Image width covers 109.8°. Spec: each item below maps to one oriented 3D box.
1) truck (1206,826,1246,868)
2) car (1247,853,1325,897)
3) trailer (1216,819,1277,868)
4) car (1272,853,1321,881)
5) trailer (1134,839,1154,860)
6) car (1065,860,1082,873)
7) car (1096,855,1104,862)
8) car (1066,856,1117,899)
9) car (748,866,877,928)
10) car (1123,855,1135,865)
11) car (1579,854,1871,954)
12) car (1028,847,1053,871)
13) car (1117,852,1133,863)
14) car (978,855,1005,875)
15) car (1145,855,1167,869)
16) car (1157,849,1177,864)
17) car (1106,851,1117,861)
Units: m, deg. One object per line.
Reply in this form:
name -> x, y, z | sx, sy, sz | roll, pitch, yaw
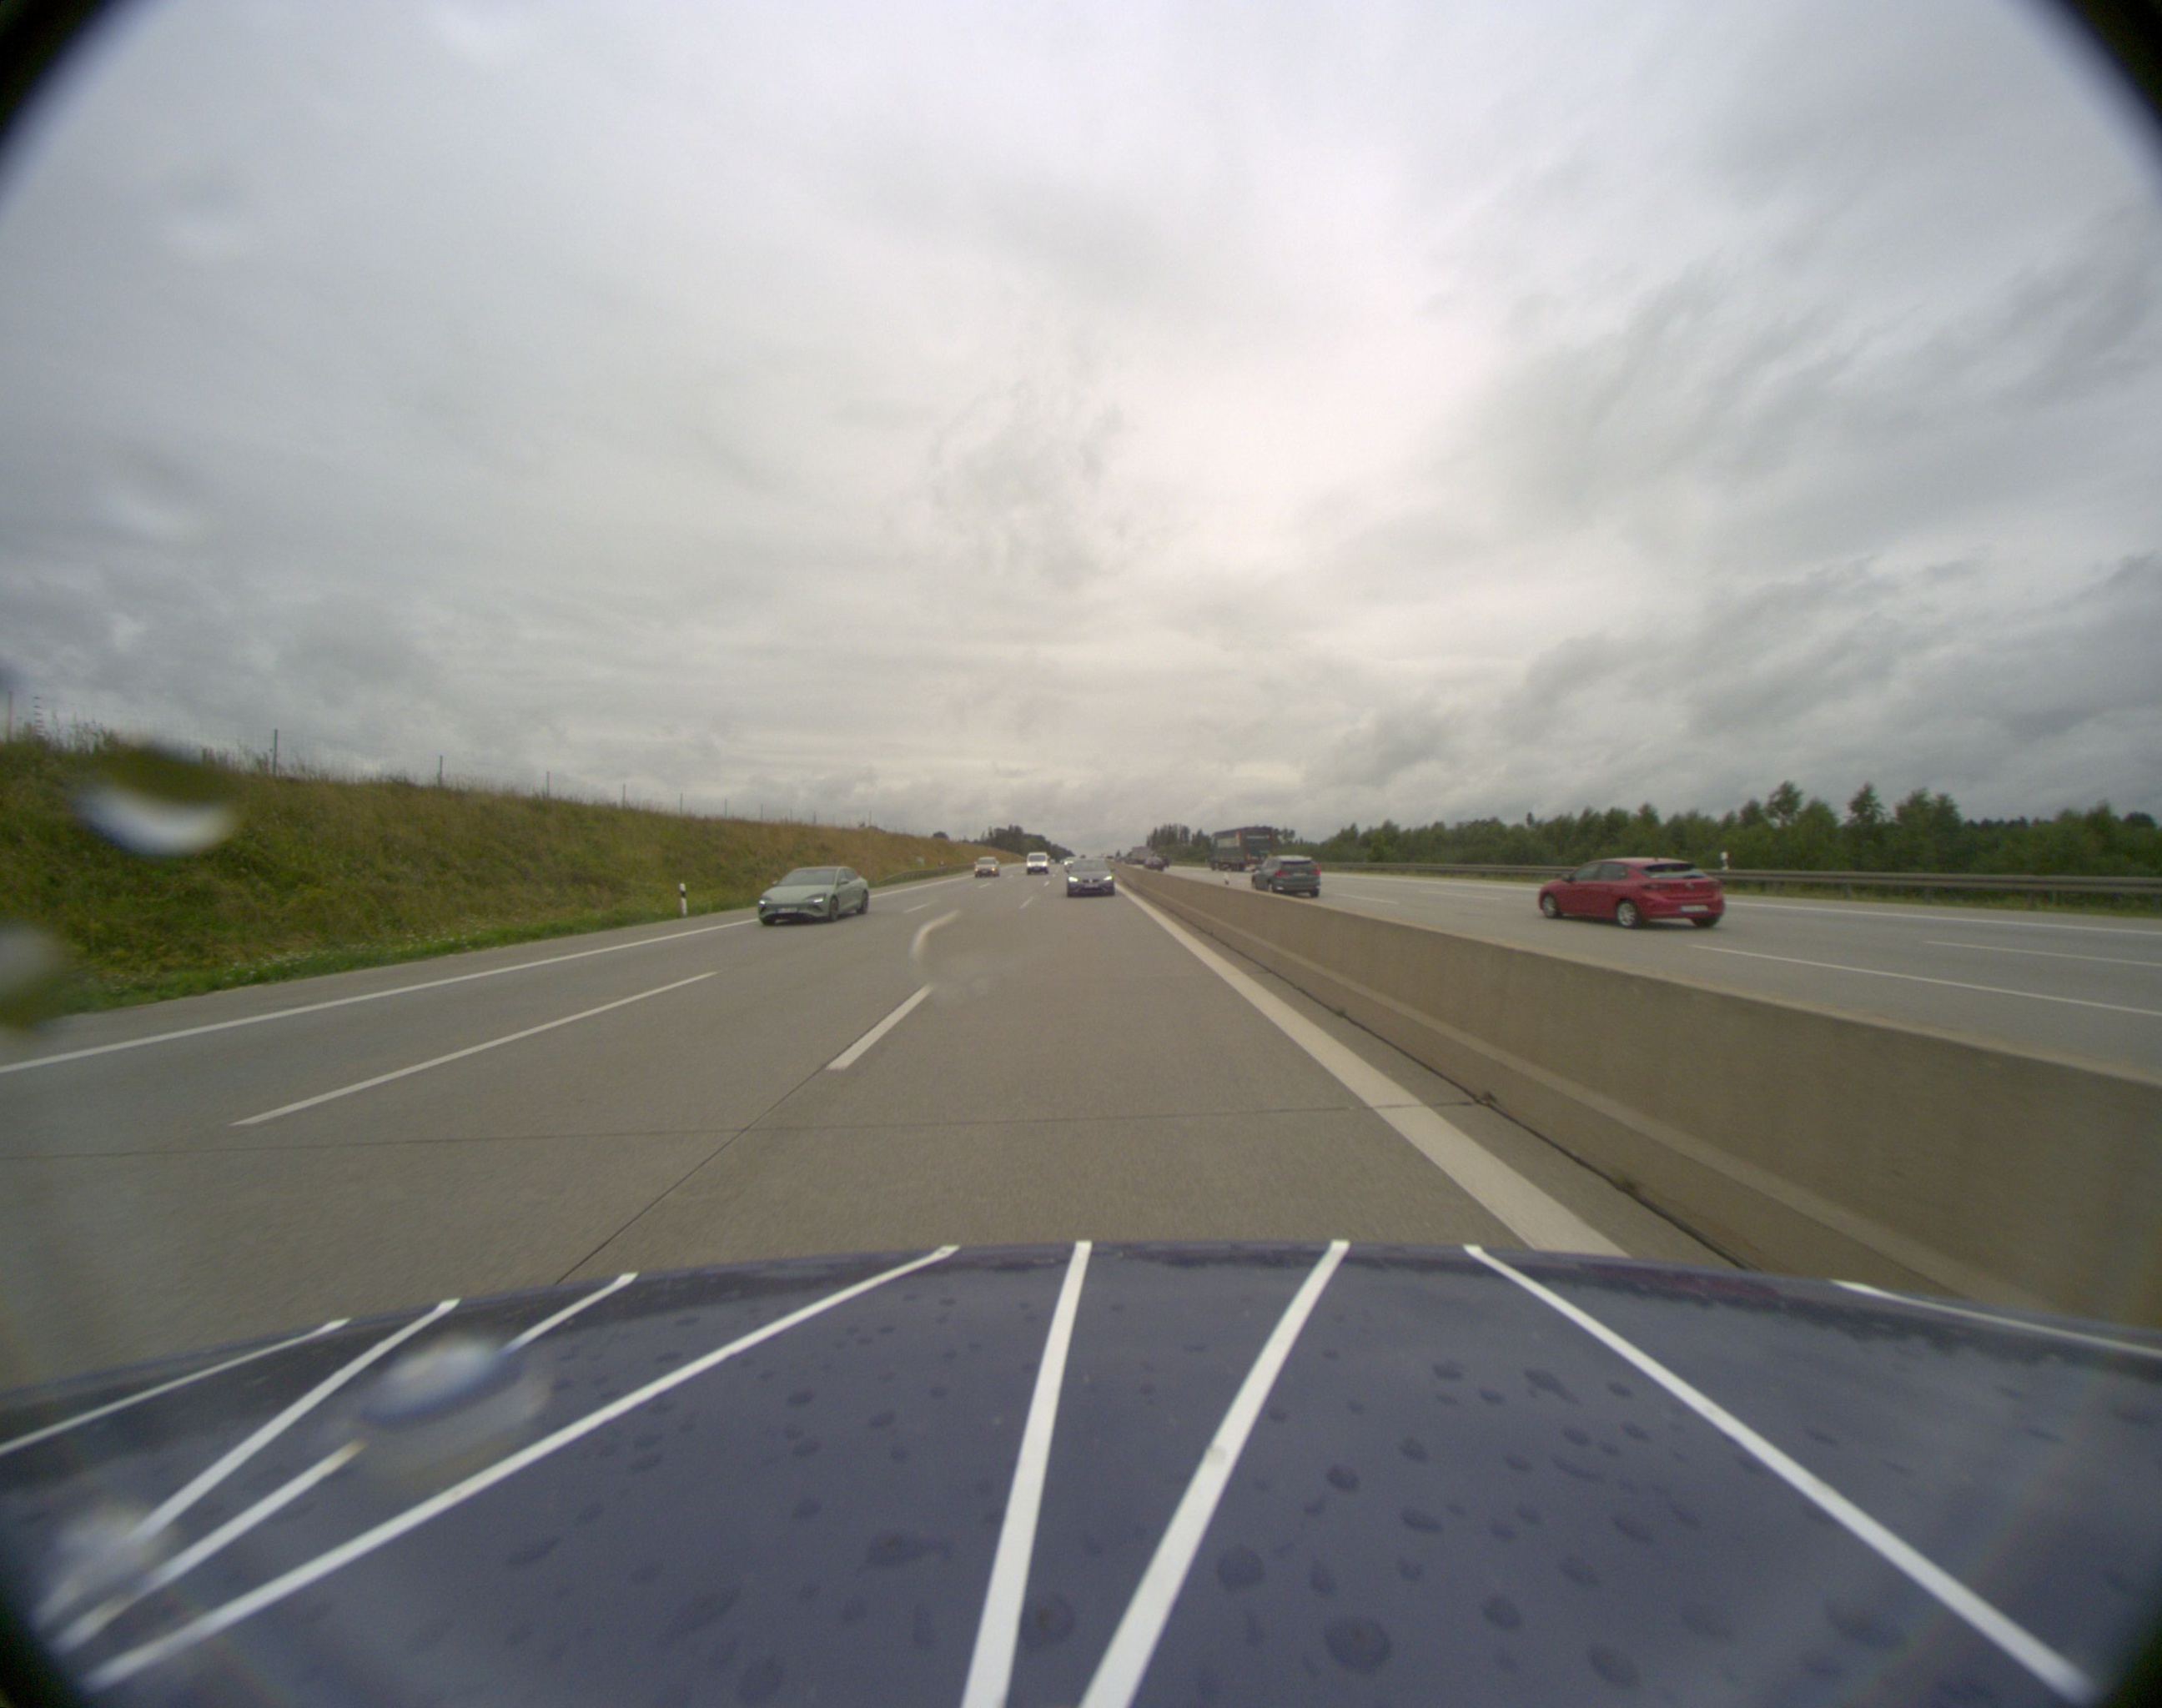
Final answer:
truck -> 15.493, -0.698, 81.607 | 2.796, 4.237, 6.049 | -3, -1, -1
car -> 8.086, 0.808, 30.424 | 1.726, 1.578, 4.972 | -1, -1, 0
trailer -> 15.701, -0.839, 73.293 | 2.772, 4.256, 12.167 | -2, -1, -1
car -> 12.280, 0.693, 43.485 | 1.522, 1.499, 4.486 | -1, 0, 0
trailer -> 13.536, -0.837, 164.403 | 2.926, 4.192, 11.872 | 1, -1, -1
car -> -0.960, 1.618, 100.061 | 1.998, 1.632, 5.043 | 1, -1, 1
car -> 5.047, 1.110, 203.065 | 2.040, 1.856, 4.603 | 1, 0, -2
car -> 0.474, 0.849, 29.366 | 1.789, 1.472, 4.571 | -1, 0, 3
car -> -7.332, 1.119, 21.339 | 2.020, 1.437, 4.744 | -3, -1, -2
car -> 9.536, 1.224, 150.671 | 1.919, 2.001, 5.924 | 1, -1, -1
car -> 11.817, 0.803, 14.460 | 1.722, 1.499, 4.485 | -1, 2, 0
car -> -3.620, 0.477, 68.853 | 2.043, 2.111, 6.068 | 1, -1, -1
car -> 6.866, 0.552, 118.605 | 1.999, 1.510, 4.397 | 1, -1, -2
car -> -7.499, 0.897, 63.787 | 1.790, 1.595, 4.570 | 1, -1, -2
car -> 7.668, 0.820, 77.972 | 1.776, 1.349, 4.366 | 1, -1, -1
car -> 11.536, 0.373, 102.650 | 1.999, 1.962, 5.331 | 1, -1, -1
car -> 6.443, 0.430, 161.292 | 1.919, 2.001, 5.924 | 1, -1, -1
